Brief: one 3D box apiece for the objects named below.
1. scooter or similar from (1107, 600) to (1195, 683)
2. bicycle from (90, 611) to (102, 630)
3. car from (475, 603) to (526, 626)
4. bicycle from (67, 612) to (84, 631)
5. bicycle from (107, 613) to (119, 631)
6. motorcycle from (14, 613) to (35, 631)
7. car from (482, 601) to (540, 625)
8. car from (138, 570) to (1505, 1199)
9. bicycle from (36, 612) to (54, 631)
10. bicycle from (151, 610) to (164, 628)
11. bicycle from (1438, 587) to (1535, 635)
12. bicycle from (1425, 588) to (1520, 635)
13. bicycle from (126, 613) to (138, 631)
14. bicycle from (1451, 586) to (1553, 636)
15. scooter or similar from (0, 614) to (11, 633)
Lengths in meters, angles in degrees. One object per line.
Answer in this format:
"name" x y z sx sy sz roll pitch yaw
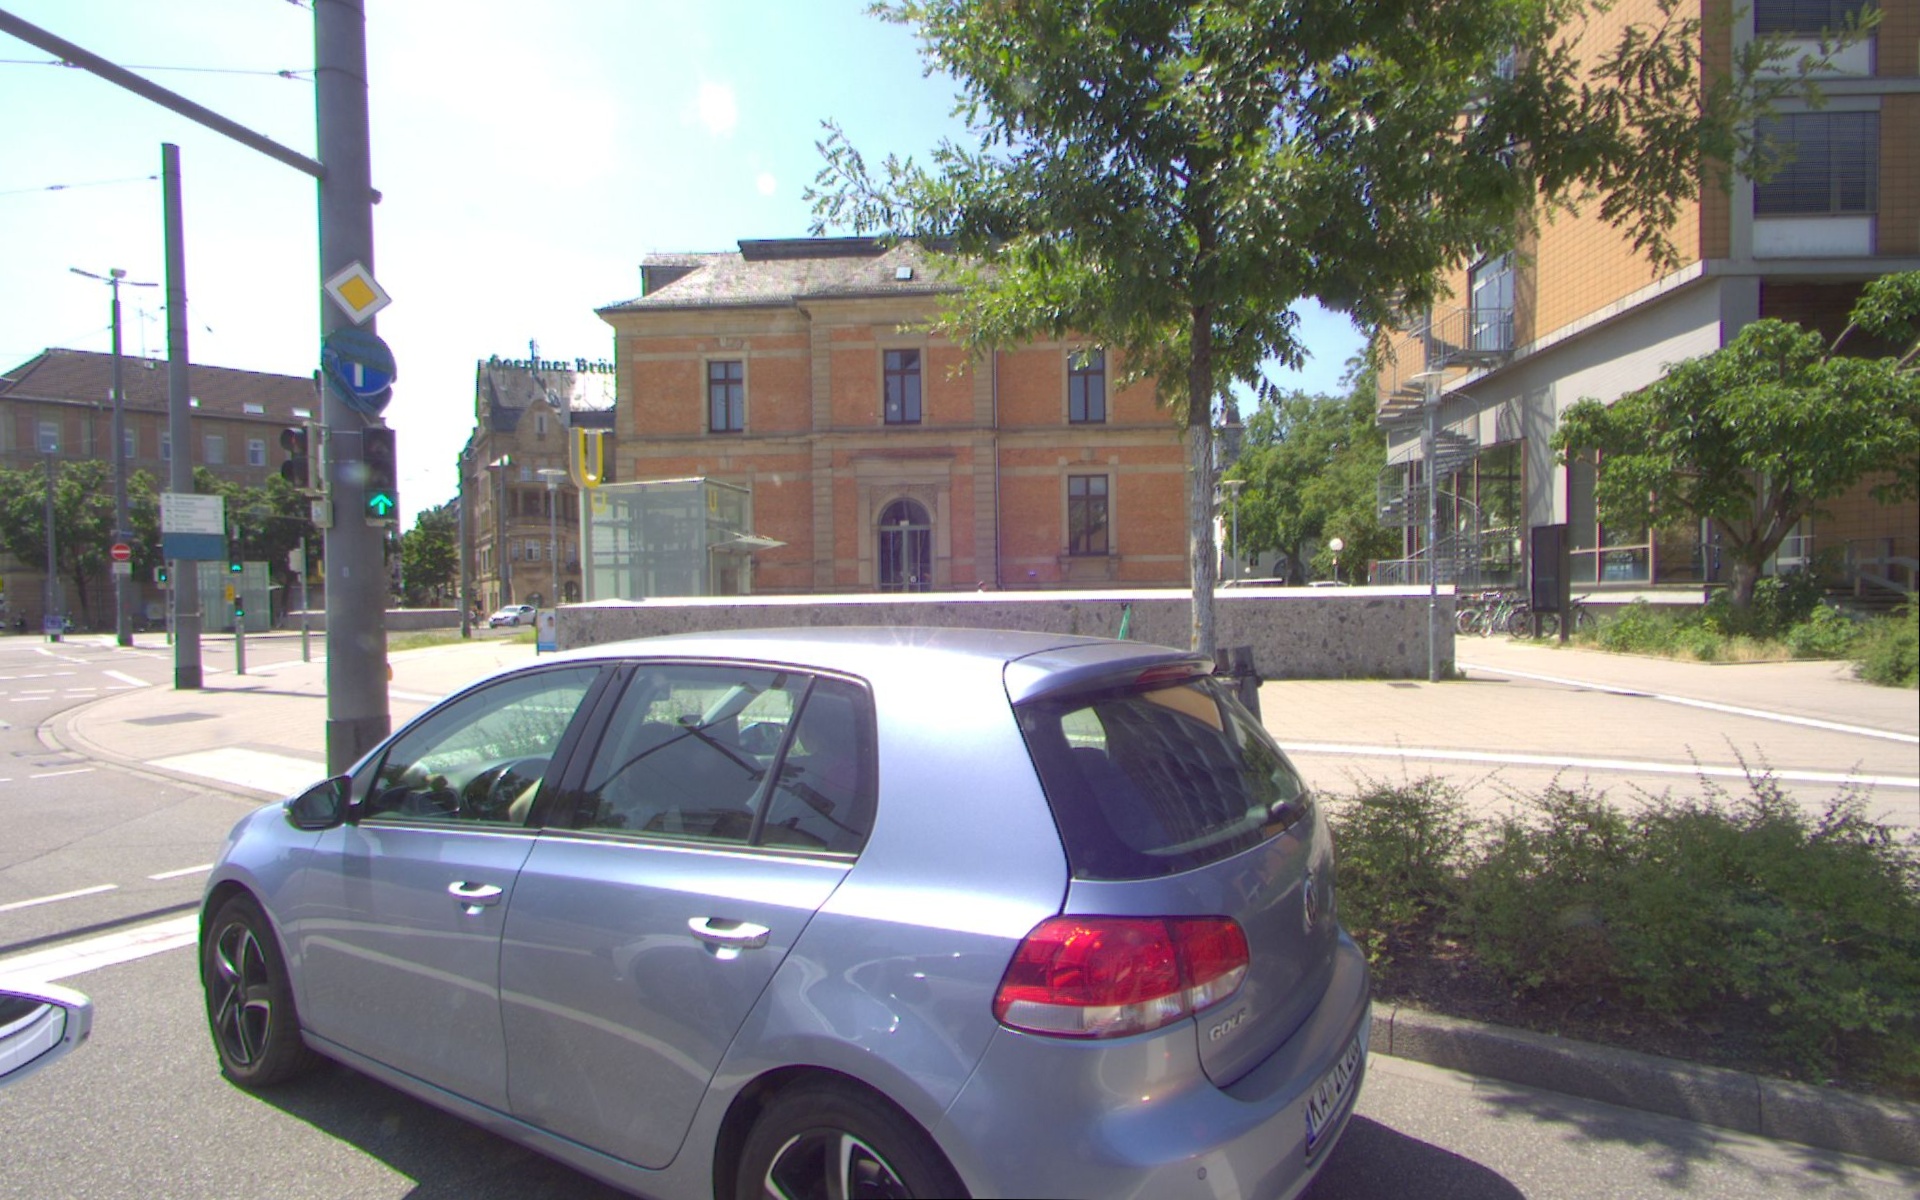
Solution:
"scooter or similar" 2.799 0.596 14.665 1.227 1.186 0.458 -1 1 13
"bicycle" -53.672 1.248 62.225 0.547 1.135 1.804 -1 1 -41
"car" -33.829 1.052 73.819 1.662 1.626 3.651 0 0 9
"bicycle" -54.360 1.324 61.531 2.069 1.160 0.440 -2 -2 40
"bicycle" -53.133 1.373 62.812 0.547 1.135 1.804 -1 1 -41
"motorcycle" -55.829 1.305 59.748 1.921 1.089 0.578 0 1 37
"car" -31.100 0.880 69.426 1.662 1.626 4.191 0 0 9
"car" -0.612 0.737 3.032 3.944 1.478 1.649 -1 -1 30
"bicycle" -55.239 1.274 60.433 1.798 1.135 0.548 0 1 39
"bicycle" -51.951 1.221 64.809 0.547 1.135 1.854 -1 1 -41
"bicycle" 13.822 0.290 26.318 2.175 1.234 0.637 0 -1 5
"bicycle" 13.827 0.326 27.057 2.175 1.234 0.637 0 -1 5
"bicycle" -52.511 1.395 63.513 0.547 1.135 1.872 -1 1 -41
"bicycle" 13.738 0.289 25.430 2.175 1.234 0.637 0 -1 5
"scooter or similar" -58.598 1.431 60.454 0.589 1.197 1.789 0 0 18
